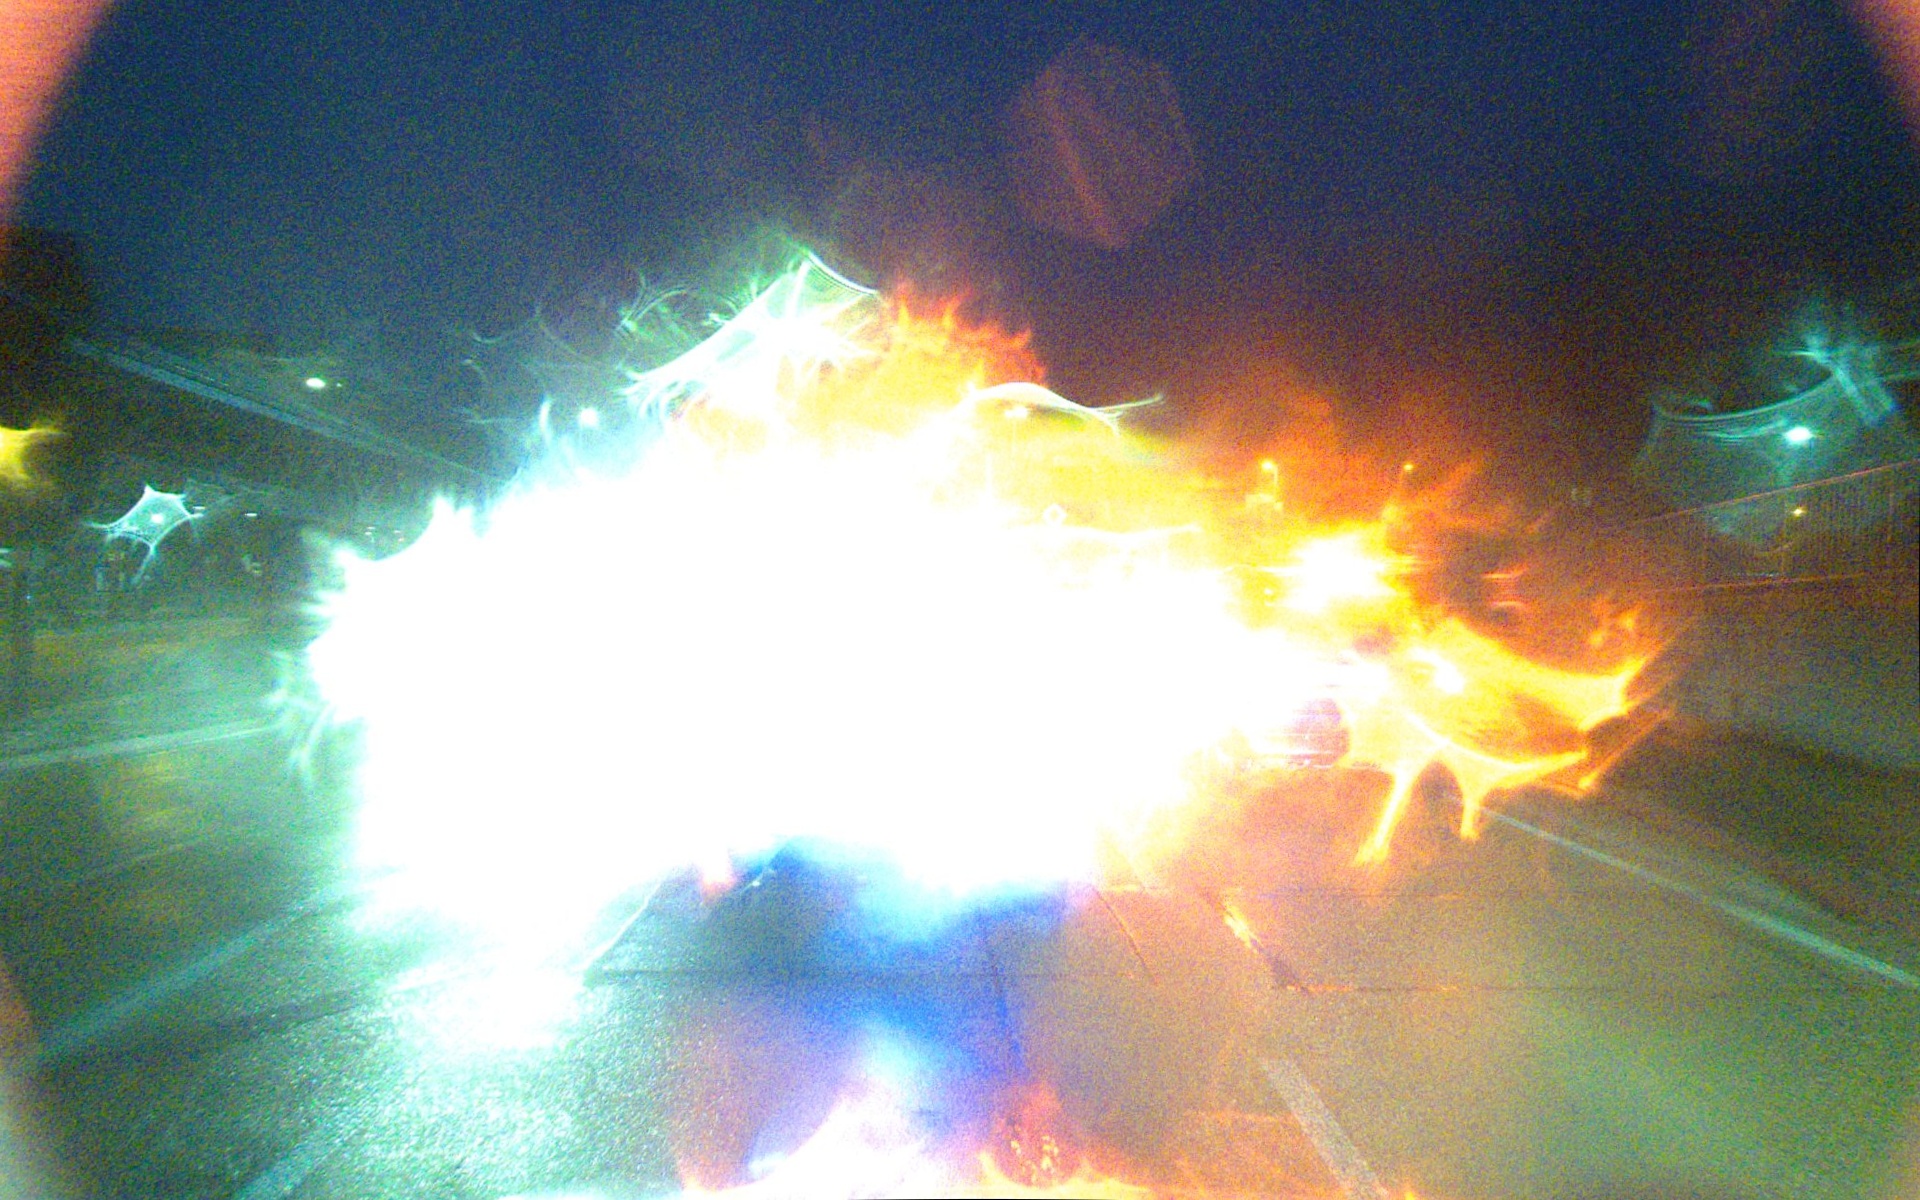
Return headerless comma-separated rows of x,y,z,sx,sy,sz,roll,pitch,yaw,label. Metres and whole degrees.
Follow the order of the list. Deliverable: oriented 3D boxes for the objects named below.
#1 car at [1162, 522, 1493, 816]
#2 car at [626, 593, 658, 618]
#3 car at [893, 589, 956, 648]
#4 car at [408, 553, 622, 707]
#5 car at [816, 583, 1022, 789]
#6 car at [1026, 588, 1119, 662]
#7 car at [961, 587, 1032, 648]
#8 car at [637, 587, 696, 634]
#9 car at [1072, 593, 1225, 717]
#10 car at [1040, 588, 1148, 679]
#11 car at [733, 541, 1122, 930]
2.779,0.453,13.482,1.902,2.006,4.219,0,1,2,car
-19.387,0.326,100.892,1.687,1.468,3.733,1,0,-7,car
-1.111,0.533,49.785,1.675,1.666,3.727,-1,1,-4,car
-6.098,0.369,23.247,1.954,1.945,4.740,0,0,-3,car
-0.350,0.692,15.558,1.674,1.666,3.730,-1,1,0,car
2.348,0.482,35.456,1.629,1.475,4.049,0,1,-1,car
0.895,0.448,42.431,1.629,1.475,4.048,0,0,-1,car
-9.512,0.308,53.765,1.687,1.468,3.733,1,0,-7,car
2.423,0.655,22.143,1.731,1.475,4.220,0,1,2,car
2.275,0.552,28.958,1.629,1.475,4.050,0,0,1,car
-0.164,0.591,9.062,1.660,1.658,3.852,1,0,-1,car
